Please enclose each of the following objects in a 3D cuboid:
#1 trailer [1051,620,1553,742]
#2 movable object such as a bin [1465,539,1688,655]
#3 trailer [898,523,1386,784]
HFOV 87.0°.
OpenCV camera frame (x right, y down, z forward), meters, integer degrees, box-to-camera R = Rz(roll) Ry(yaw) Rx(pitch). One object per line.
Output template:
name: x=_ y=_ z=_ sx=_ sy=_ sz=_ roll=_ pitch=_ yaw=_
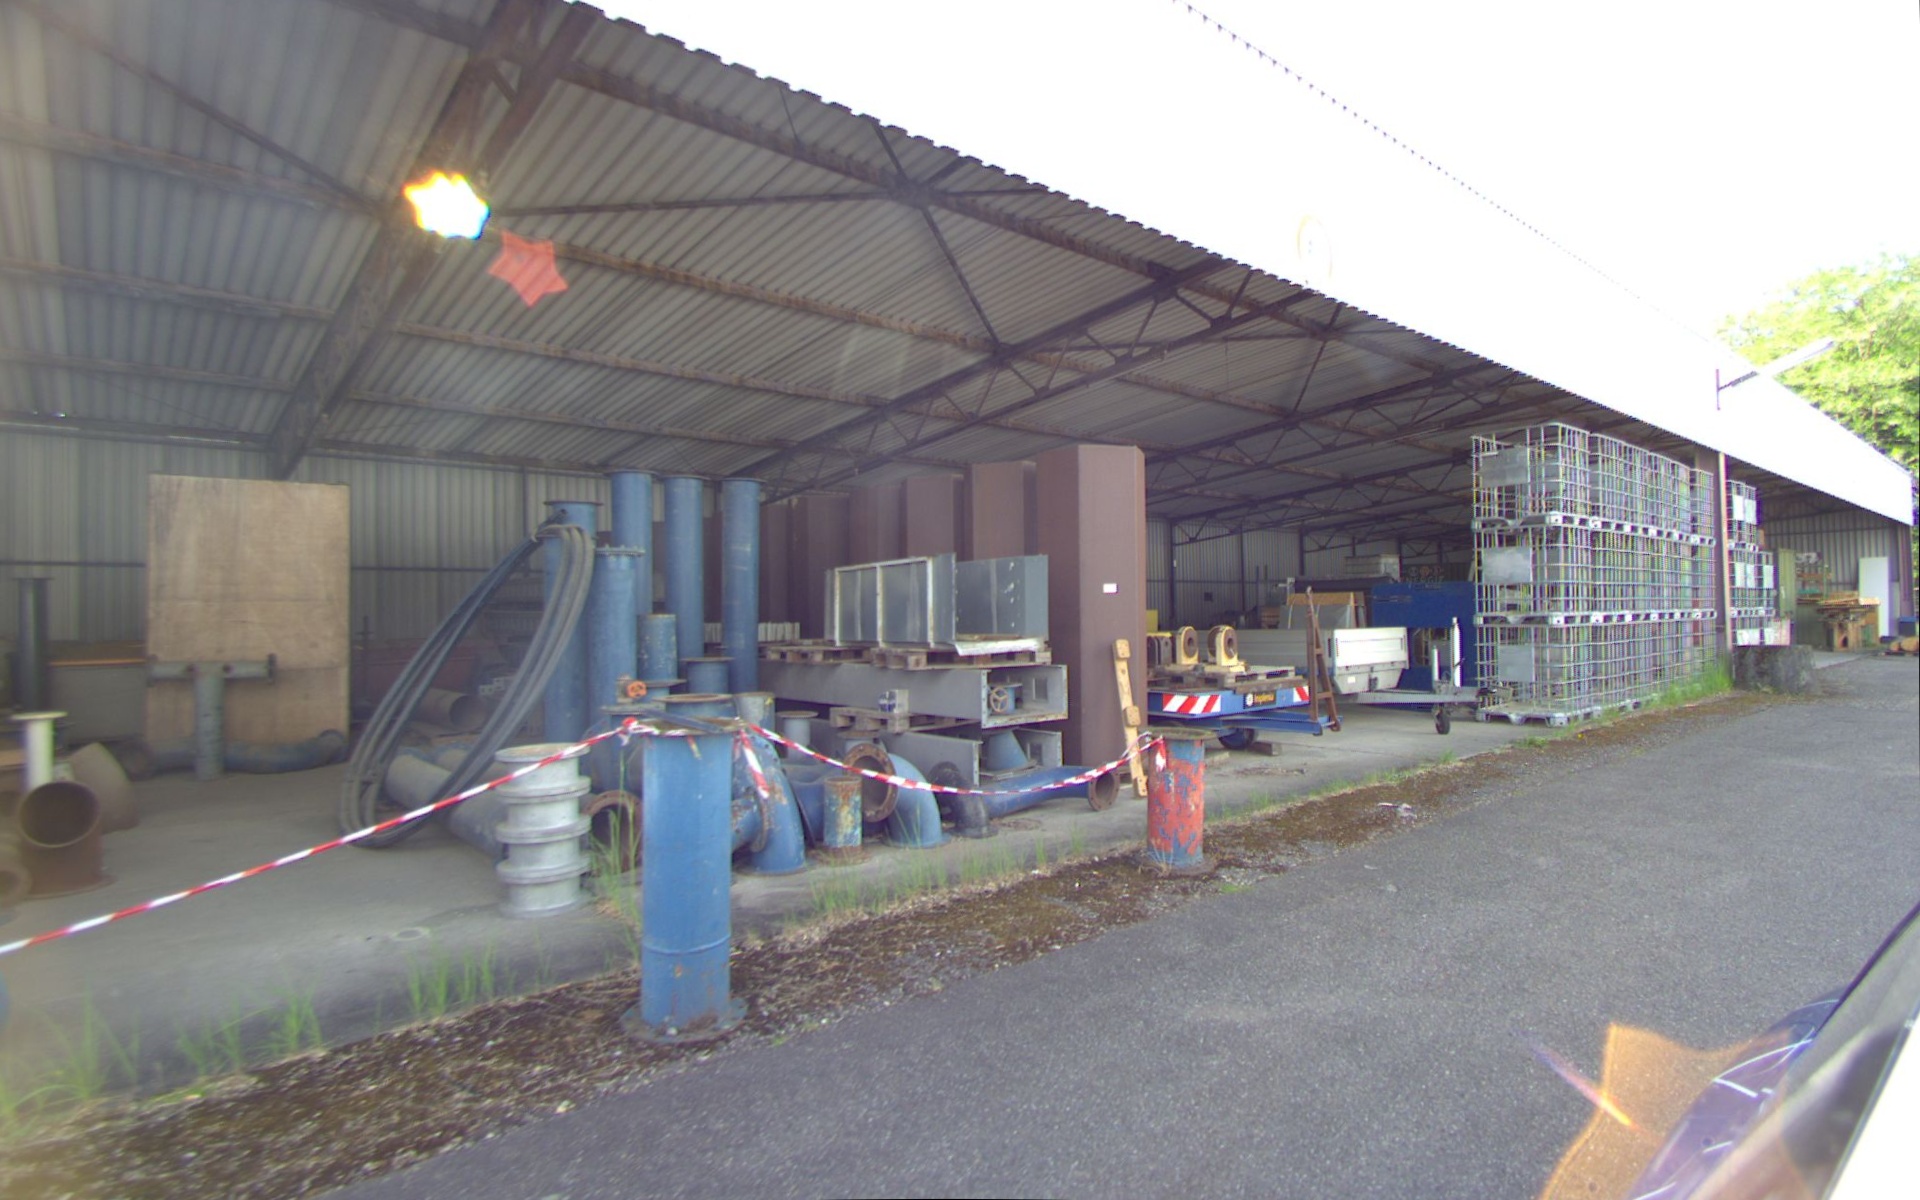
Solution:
trailer: x=3.912 y=0.849 z=12.667 sx=1.974 sy=1.147 sz=5.741 roll=0 pitch=-1 yaw=-42
movable object such as a bin: x=15.927 y=-0.049 z=26.345 sx=1.966 sy=2.757 sz=4.620 roll=2 pitch=-1 yaw=-42
trailer: x=1.554 y=0.410 z=10.387 sx=2.009 sy=2.022 sz=4.829 roll=-1 pitch=0 yaw=-38
